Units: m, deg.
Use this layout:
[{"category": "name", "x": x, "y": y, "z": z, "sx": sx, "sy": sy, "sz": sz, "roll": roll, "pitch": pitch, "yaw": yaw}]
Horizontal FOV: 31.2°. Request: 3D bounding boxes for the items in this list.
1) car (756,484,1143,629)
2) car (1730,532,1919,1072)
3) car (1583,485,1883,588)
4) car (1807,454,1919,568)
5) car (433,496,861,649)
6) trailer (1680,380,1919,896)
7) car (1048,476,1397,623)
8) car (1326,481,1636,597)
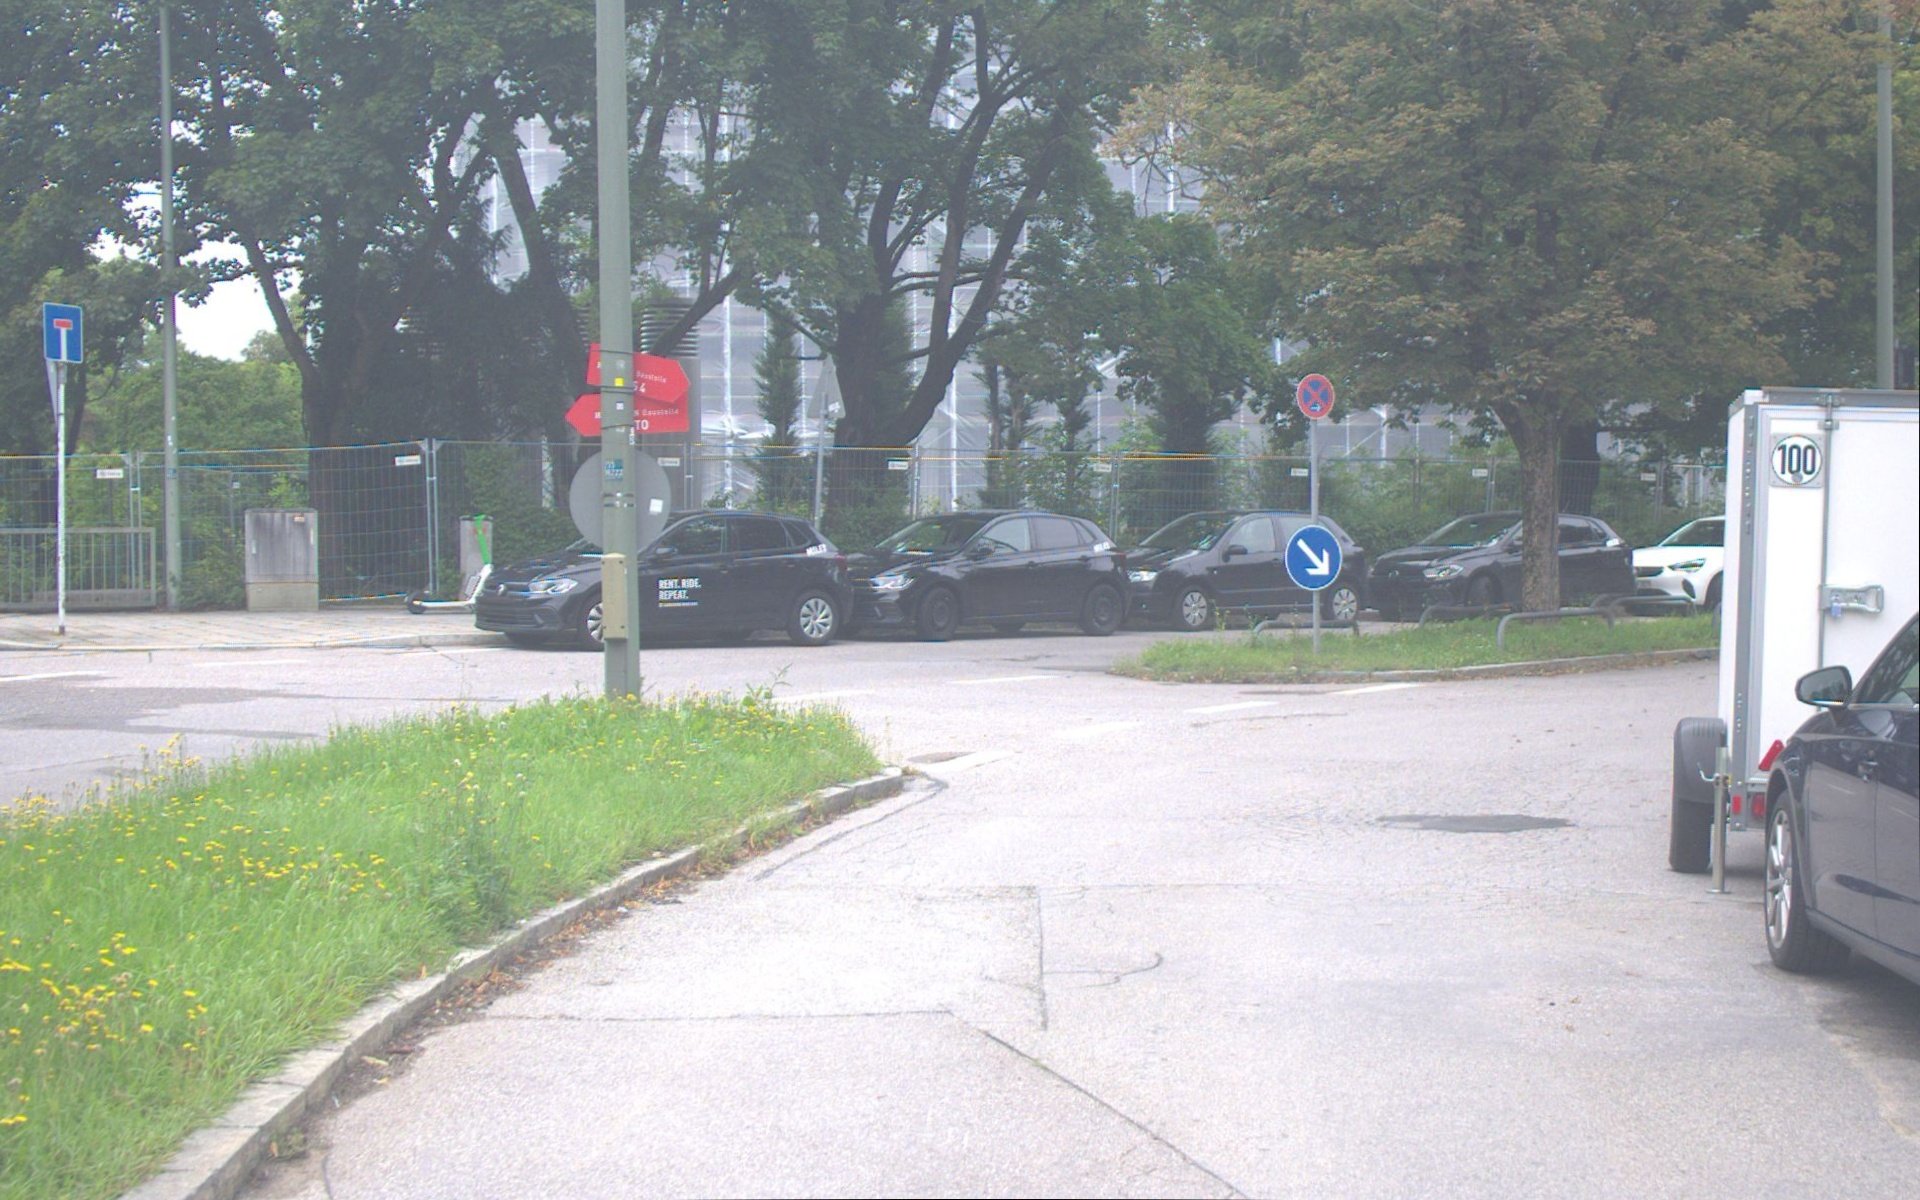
[{"category": "car", "x": -0.093, "y": -0.526, "z": 38.632, "sx": 3.988, "sy": 1.535, "sz": 1.999, "roll": -2, "pitch": 2, "yaw": -40}, {"category": "car", "x": 3.615, "y": 0.545, "z": 10.201, "sx": 1.872, "sy": 1.432, "sz": 4.328, "roll": -1, "pitch": 2, "yaw": 3}, {"category": "car", "x": 10.819, "y": -0.900, "z": 48.004, "sx": 4.206, "sy": 1.379, "sz": 1.801, "roll": -1, "pitch": 2, "yaw": -37}, {"category": "car", "x": 14.744, "y": -1.253, "z": 50.359, "sx": 4.381, "sy": 1.600, "sz": 1.892, "roll": 1, "pitch": 1, "yaw": -29}, {"category": "car", "x": -3.246, "y": -0.334, "z": 35.969, "sx": 4.031, "sy": 1.427, "sz": 2.000, "roll": -2, "pitch": 4, "yaw": -39}, {"category": "trailer", "x": 4.295, "y": 0.087, "z": 15.714, "sx": 1.810, "sy": 2.007, "sz": 4.831, "roll": 0, "pitch": 1, "yaw": 14}, {"category": "car", "x": 3.234, "y": -0.643, "z": 41.967, "sx": 3.988, "sy": 1.700, "sz": 1.999, "roll": -1, "pitch": 2, "yaw": -40}, {"category": "car", "x": 6.860, "y": -0.814, "z": 45.094, "sx": 3.994, "sy": 1.456, "sz": 1.840, "roll": -1, "pitch": 2, "yaw": -40}]
